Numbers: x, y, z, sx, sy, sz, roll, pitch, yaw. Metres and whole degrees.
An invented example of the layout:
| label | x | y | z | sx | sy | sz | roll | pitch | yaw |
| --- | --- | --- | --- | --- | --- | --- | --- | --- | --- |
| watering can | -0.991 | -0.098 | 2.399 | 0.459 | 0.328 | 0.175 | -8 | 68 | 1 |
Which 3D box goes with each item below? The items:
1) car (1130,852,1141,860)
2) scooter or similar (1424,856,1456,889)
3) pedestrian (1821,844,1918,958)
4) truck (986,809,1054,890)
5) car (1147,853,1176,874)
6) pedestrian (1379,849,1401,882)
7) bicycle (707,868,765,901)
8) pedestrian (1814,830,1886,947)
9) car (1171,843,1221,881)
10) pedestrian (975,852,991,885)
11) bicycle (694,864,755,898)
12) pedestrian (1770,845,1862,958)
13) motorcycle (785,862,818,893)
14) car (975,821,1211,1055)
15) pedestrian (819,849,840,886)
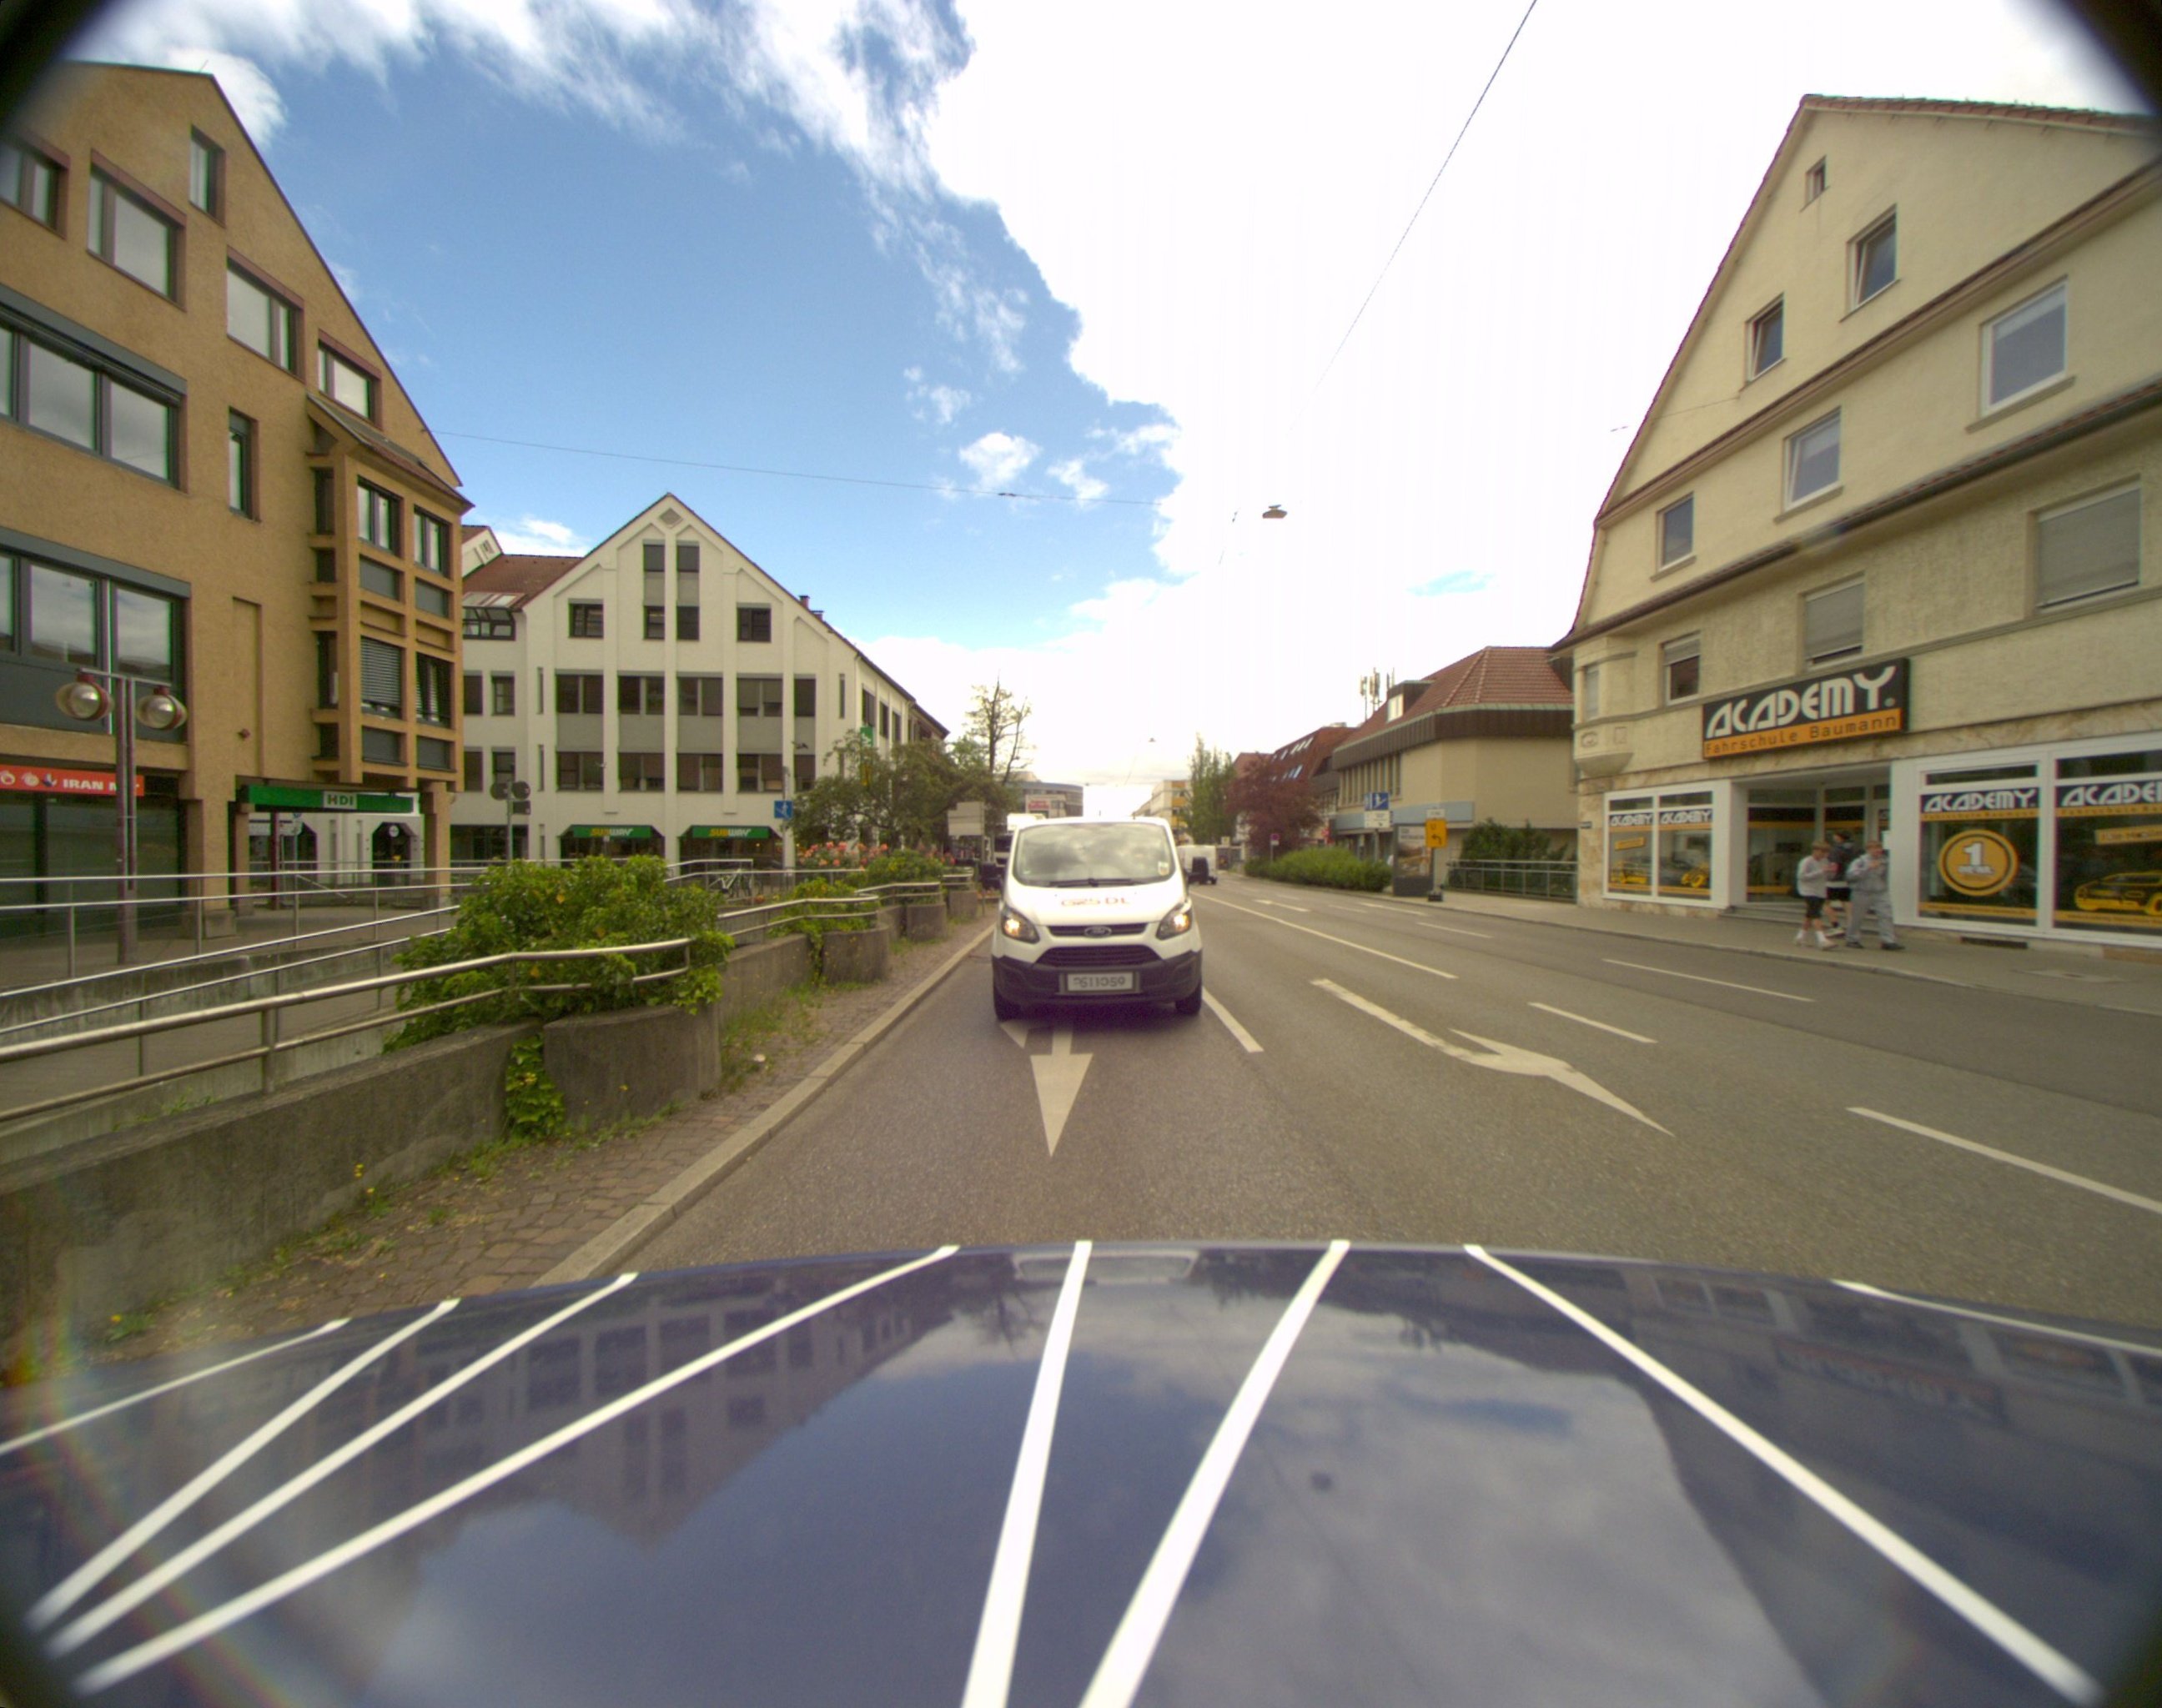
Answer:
| label | x | y | z | sx | sy | sz | roll | pitch | yaw |
| --- | --- | --- | --- | --- | --- | --- | --- | --- | --- |
| car | 9.134 | 0.341 | 127.173 | 1.650 | 1.391 | 3.541 | 0 | 0 | -1 |
| scooter or similar | 15.382 | 0.792 | 32.563 | 1.193 | 1.385 | 0.538 | 0 | 1 | -15 |
| pedestrian | 12.033 | 0.695 | 11.611 | 0.689 | 1.660 | 0.709 | -3 | 1 | 0 |
| truck | -2.842 | -0.267 | 37.568 | 2.446 | 3.464 | 8.346 | -2 | 1 | 1 |
| car | 5.529 | 0.615 | 52.584 | 1.650 | 1.391 | 3.541 | 0 | 0 | -1 |
| pedestrian | 16.369 | 0.587 | 40.274 | 0.835 | 1.749 | 0.837 | 0 | 1 | 0 |
| bicycle | -10.710 | 0.935 | 23.625 | 1.594 | 0.963 | 0.461 | 0 | 1 | -14 |
| pedestrian | 12.682 | 0.557 | 12.541 | 0.551 | 1.878 | 0.592 | -2 | 1 | -4 |
| car | 5.952 | 0.380 | 39.790 | 1.957 | 1.898 | 4.321 | 0 | 0 | -1 |
| pedestrian | -4.633 | 0.683 | 35.850 | 0.653 | 1.568 | 0.684 | -1 | 1 | 1 |
| bicycle | -10.704 | 0.797 | 22.854 | 1.594 | 0.996 | 0.414 | 0 | 1 | -13 |
| pedestrian | 11.288 | 0.708 | 11.693 | 0.689 | 1.680 | 0.742 | -1 | 1 | 0 |
| motorcycle | -10.212 | 0.851 | 27.787 | 0.464 | 1.062 | 1.995 | 0 | 0 | 0 |
| car | 0.102 | 0.689 | 8.928 | 1.964 | 1.948 | 5.163 | 0 | 0 | 0 |
| pedestrian | -12.344 | 0.650 | 37.312 | 0.887 | 1.747 | 0.943 | 0 | 1 | -11 |
